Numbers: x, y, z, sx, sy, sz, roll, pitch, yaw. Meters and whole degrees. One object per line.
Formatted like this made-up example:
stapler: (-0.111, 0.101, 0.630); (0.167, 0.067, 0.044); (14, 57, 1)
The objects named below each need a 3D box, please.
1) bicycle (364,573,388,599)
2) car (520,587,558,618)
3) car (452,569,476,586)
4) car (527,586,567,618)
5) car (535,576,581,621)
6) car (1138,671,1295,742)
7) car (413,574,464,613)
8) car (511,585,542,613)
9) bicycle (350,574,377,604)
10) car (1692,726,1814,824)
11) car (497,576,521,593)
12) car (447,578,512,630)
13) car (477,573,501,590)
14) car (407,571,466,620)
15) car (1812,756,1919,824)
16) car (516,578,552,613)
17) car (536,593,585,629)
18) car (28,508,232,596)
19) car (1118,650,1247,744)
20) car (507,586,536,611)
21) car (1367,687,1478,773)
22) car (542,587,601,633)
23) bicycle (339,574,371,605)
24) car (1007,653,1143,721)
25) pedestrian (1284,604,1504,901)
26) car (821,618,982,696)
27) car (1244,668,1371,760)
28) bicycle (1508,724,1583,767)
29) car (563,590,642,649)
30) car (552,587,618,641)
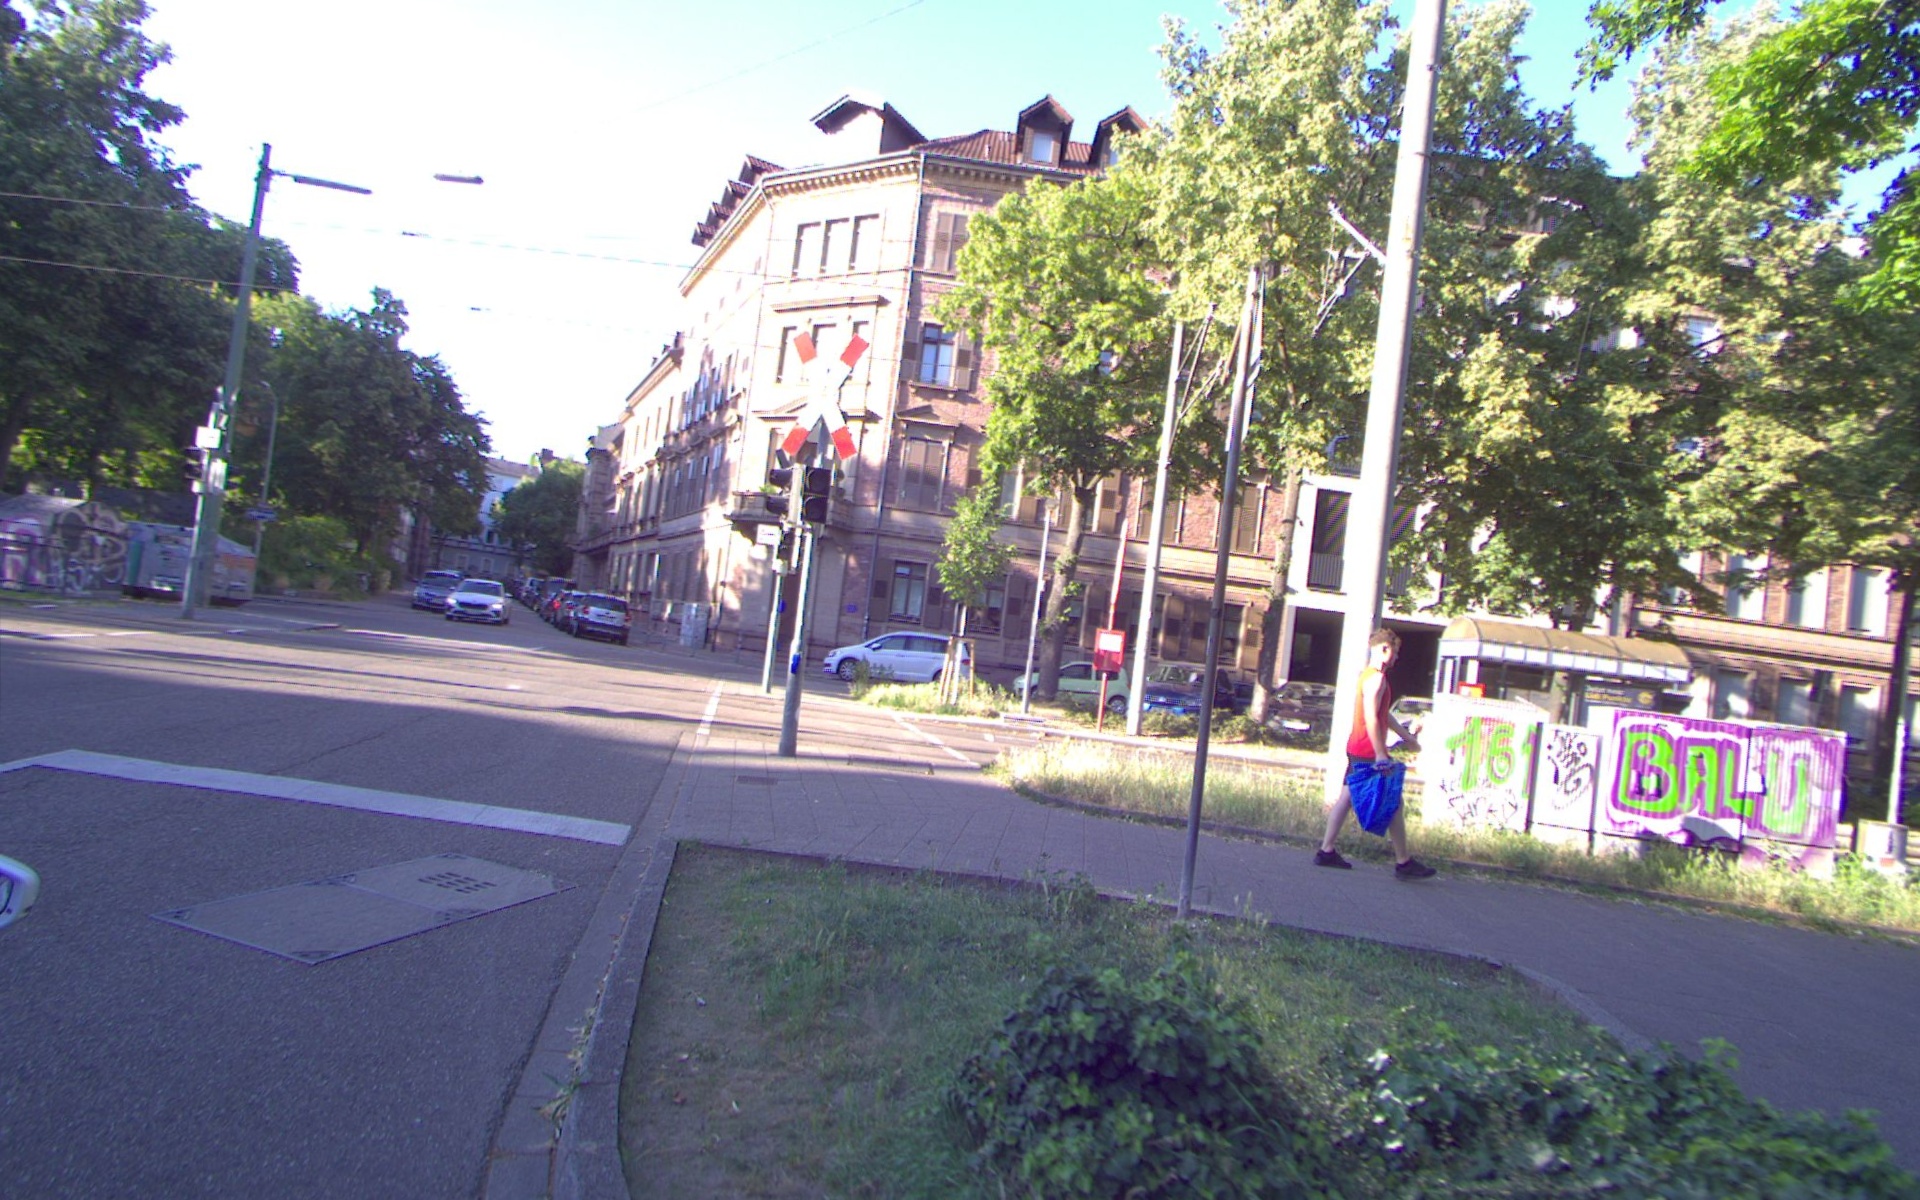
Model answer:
bicycle: (-27.361, -0.634, 47.163); (0.591, 1.114, 2.613); (8, -2, -24)
car: (-27.196, 0.134, 64.889); (1.784, 1.639, 3.932); (11, -4, -26)
car: (-60.372, -2.685, 122.399); (1.981, 1.701, 3.971); (10, -5, -31)
car: (-24.608, 0.103, 59.884); (1.784, 1.539, 3.932); (11, -4, -26)
car: (-22.026, -0.082, 55.030); (1.784, 2.094, 3.932); (11, -4, -26)
car: (7.533, 3.130, 29.785); (4.087, 1.505, 1.745); (7, -4, 0)
car: (-24.869, -0.307, 48.077); (1.812, 1.461, 3.908); (12, -4, -25)
car: (-34.560, -0.112, 80.163); (1.784, 1.858, 3.932); (11, -4, -26)
bicycle: (-24.608, -0.451, 41.525); (0.591, 1.114, 2.612); (8, -2, -26)
car: (18.279, 3.944, 23.296); (1.901, 1.742, 4.538); (6, -2, 38)
car: (-56.166, -1.899, 125.190); (1.981, 1.701, 3.971); (10, -5, -31)
car: (-16.483, 0.112, 34.658); (1.686, 1.473, 4.042); (8, -2, -23)
car: (-58.176, -2.265, 124.266); (1.981, 1.701, 3.971); (10, -5, -31)
car: (-21.886, -0.210, 42.201); (1.812, 1.631, 4.267); (12, -4, -25)
car: (28.751, 5.882, 30.513); (4.167, 1.586, 1.999); (7, -1, -5)
car: (-29.653, -0.338, 69.994); (1.784, 2.094, 3.932); (11, -4, -26)
car: (-19.747, 0.520, 49.643); (1.784, 1.359, 3.932); (11, -4, -26)
car: (-26.156, -1.474, 31.827); (4.574, 2.026, 1.952); (7, -2, -1)
car: (5.132, 2.246, 22.733); (1.711, 1.705, 4.422); (6, -4, 26)
car: (-37.005, -0.147, 84.865); (1.784, 1.745, 3.932); (11, -4, -26)
car: (10.677, 2.908, 23.030); (1.896, 1.504, 4.549); (6, -2, 29)
car: (-17.429, 0.428, 45.006); (1.785, 1.631, 3.928); (11, -4, -28)
bicycle: (-23.476, -0.403, 39.070); (0.591, 1.114, 2.614); (8, -2, -24)
car: (3.351, 2.575, 29.815); (3.657, 1.505, 1.745); (8, -4, -2)
pedestrian: (3.200, 1.095, 7.542); (1.128, 1.940, 0.907); (7, -2, 8)
car: (-1.680, 1.719, 29.670); (4.415, 1.666, 1.878); (7, -4, 0)
car: (8.087, 2.570, 23.118); (1.896, 1.653, 4.549); (7, -2, 29)
bicycle: (19.909, 4.949, 34.253); (2.060, 1.129, 0.682); (6, -2, 27)
car: (-12.804, 0.665, 35.874); (1.902, 1.673, 4.162); (12, -4, -26)
car: (-15.084, 0.508, 40.315); (1.812, 1.741, 4.517); (12, -4, -25)
